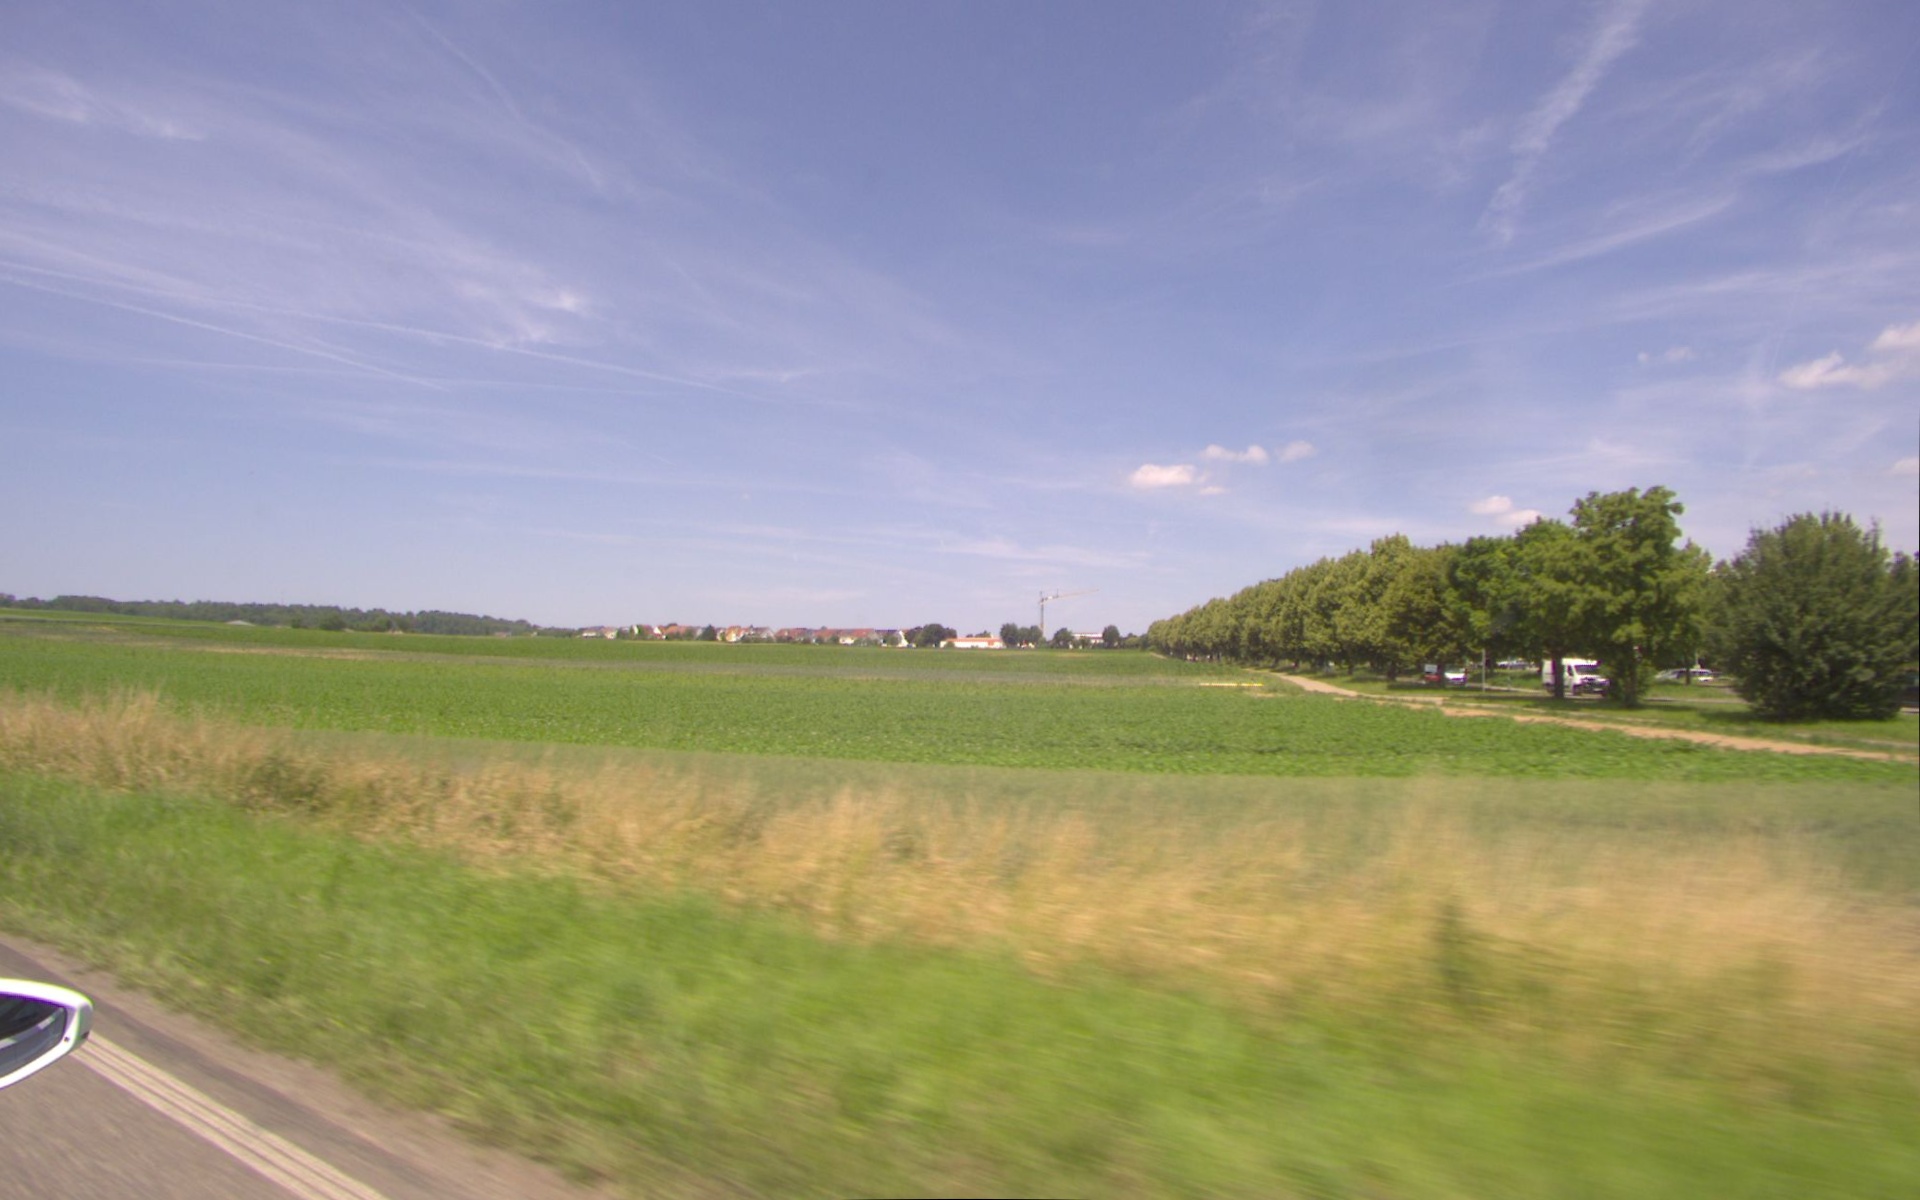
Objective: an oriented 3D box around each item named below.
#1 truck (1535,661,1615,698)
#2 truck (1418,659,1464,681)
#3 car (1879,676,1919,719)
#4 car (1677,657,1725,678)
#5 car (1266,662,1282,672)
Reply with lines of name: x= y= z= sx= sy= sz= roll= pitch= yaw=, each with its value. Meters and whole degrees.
truck: x=41.690 y=5.352 z=68.070 sx=2.013 sy=2.394 sz=5.644 roll=-1 pitch=-4 yaw=2
truck: x=43.947 y=6.403 z=91.550 sx=1.766 sy=1.999 sz=5.482 roll=-1 pitch=-4 yaw=3
car: x=40.466 y=4.002 z=41.053 sx=1.962 sy=1.718 sz=4.295 roll=-1 pitch=-4 yaw=8
car: x=65.768 y=5.989 z=88.964 sx=1.788 sy=1.846 sz=4.002 roll=-1 pitch=-4 yaw=10
car: x=55.823 y=11.967 z=178.093 sx=1.961 sy=1.669 sz=4.004 roll=-1 pitch=-4 yaw=6
